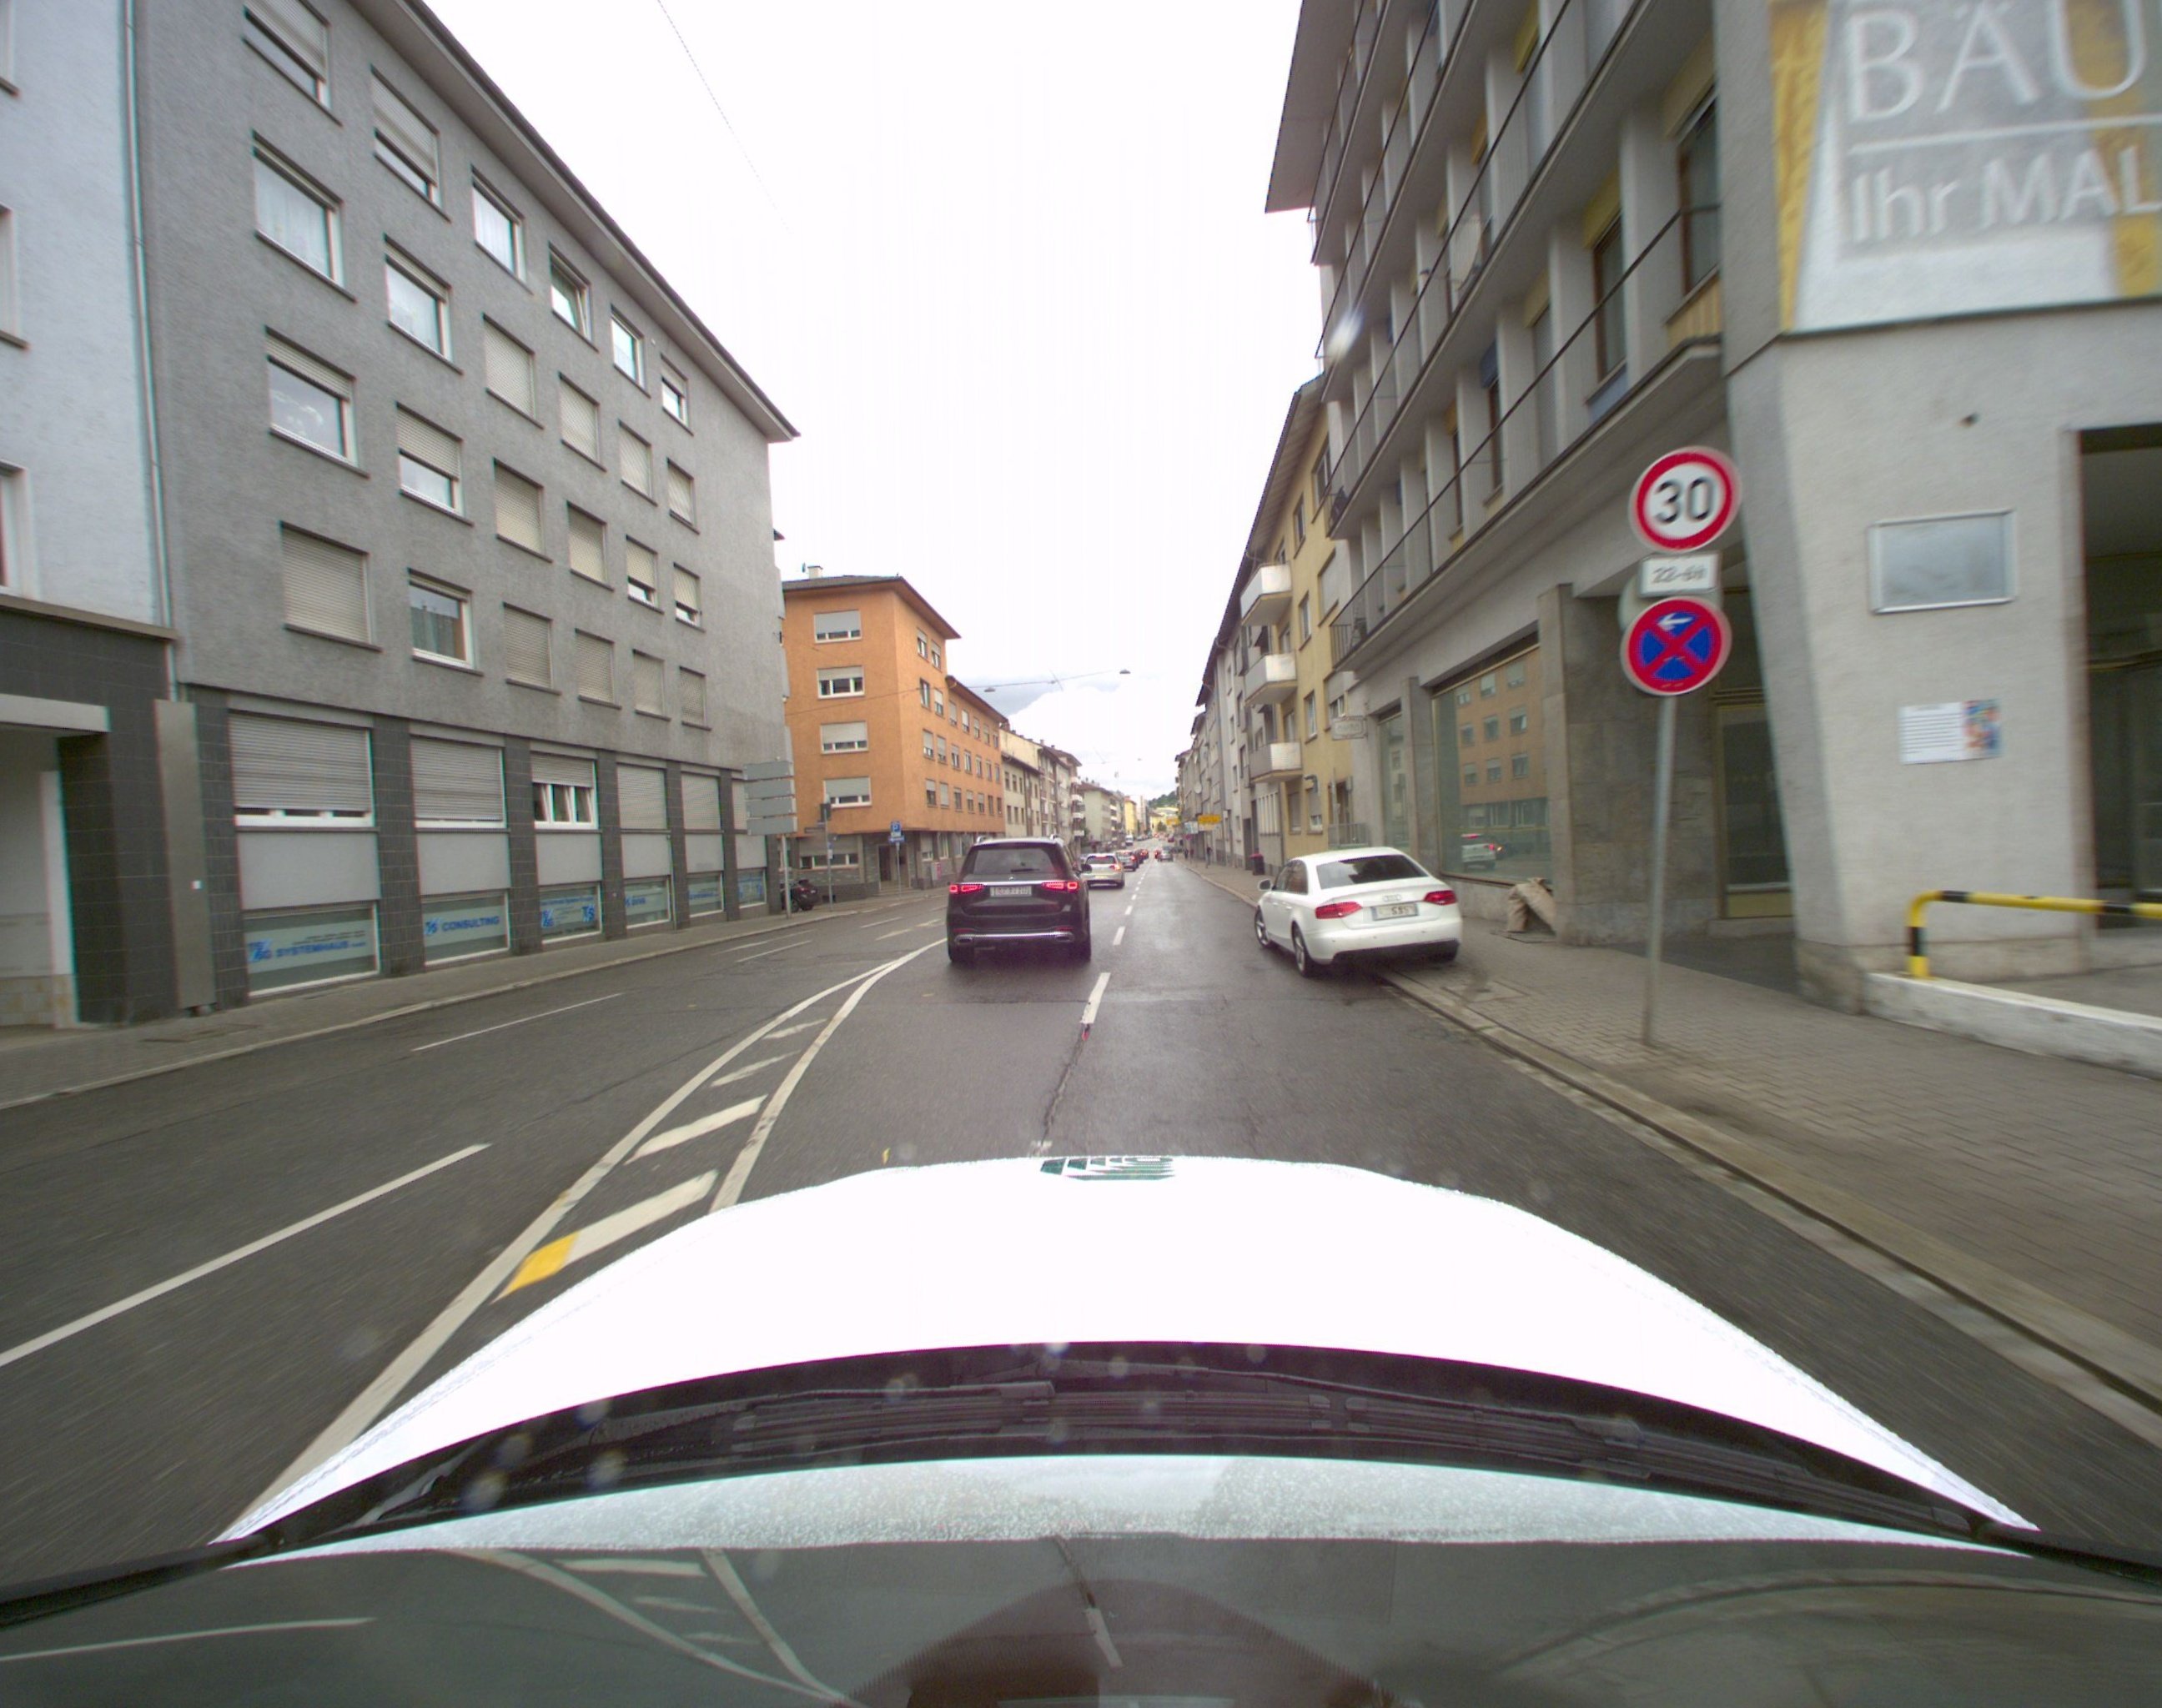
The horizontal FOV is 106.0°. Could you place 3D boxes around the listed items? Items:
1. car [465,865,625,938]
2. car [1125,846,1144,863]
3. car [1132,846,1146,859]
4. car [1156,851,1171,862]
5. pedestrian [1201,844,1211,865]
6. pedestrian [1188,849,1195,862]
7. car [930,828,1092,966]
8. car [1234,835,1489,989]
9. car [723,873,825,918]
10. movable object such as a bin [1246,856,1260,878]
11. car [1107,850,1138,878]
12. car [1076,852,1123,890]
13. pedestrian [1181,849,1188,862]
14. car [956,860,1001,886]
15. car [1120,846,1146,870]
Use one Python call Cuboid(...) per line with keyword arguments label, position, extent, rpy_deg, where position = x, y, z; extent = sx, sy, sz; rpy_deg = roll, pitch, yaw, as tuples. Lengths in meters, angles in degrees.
Cuboid(label="car", position=(-23.038, 1.994, 35.147), extent=(5.326, 2.458, 1.982), rpy_deg=(-7, 0, -1))
Cuboid(label="car", position=(6.423, 0.055, 97.383), extent=(1.983, 2.013, 4.009), rpy_deg=(-1, 0, 7))
Cuboid(label="car", position=(9.278, -0.266, 129.296), extent=(1.983, 2.013, 4.009), rpy_deg=(-1, 0, 7))
Cuboid(label="car", position=(10.753, 0.322, 106.299), extent=(1.726, 1.388, 4.588), rpy_deg=(-1, 0, 4))
Cuboid(label="pedestrian", position=(10.416, 0.050, 67.892), extent=(0.651, 1.752, 0.744), rpy_deg=(-5, 0, 10))
Cuboid(label="pedestrian", position=(13.460, 0.194, 99.133), extent=(0.816, 1.565, 0.901), rpy_deg=(-1, 0, 8))
Cuboid(label="car", position=(-0.889, 0.532, 12.971), extent=(2.069, 1.765, 4.612), rpy_deg=(-1, 1, 1))
Cuboid(label="car", position=(3.404, 0.598, 10.938), extent=(1.886, 1.402, 4.612), rpy_deg=(-8, 0, 3))
Cuboid(label="car", position=(-14.683, 1.971, 39.050), extent=(3.968, 1.652, 1.933), rpy_deg=(-7, 0, 5))
Cuboid(label="movable object such as a bin", position=(7.931, 0.599, 37.592), extent=(0.470, 0.962, 0.565), rpy_deg=(-6, 0, 6))
Cuboid(label="car", position=(3.202, 0.722, 62.226), extent=(1.983, 2.013, 4.009), rpy_deg=(-1, 0, 7))
Cuboid(label="car", position=(0.863, 0.685, 34.944), extent=(1.885, 1.510, 4.176), rpy_deg=(0, 0, 3))
Cuboid(label="pedestrian", position=(12.589, 0.195, 99.248), extent=(0.816, 1.565, 0.901), rpy_deg=(-1, 0, 8))
Cuboid(label="car", position=(-6.304, 1.157, 50.561), extent=(1.883, 1.458, 4.553), rpy_deg=(-1, 0, 3))
Cuboid(label="car", position=(4.603, 0.289, 72.069), extent=(1.983, 2.013, 4.009), rpy_deg=(-1, 0, 7))
